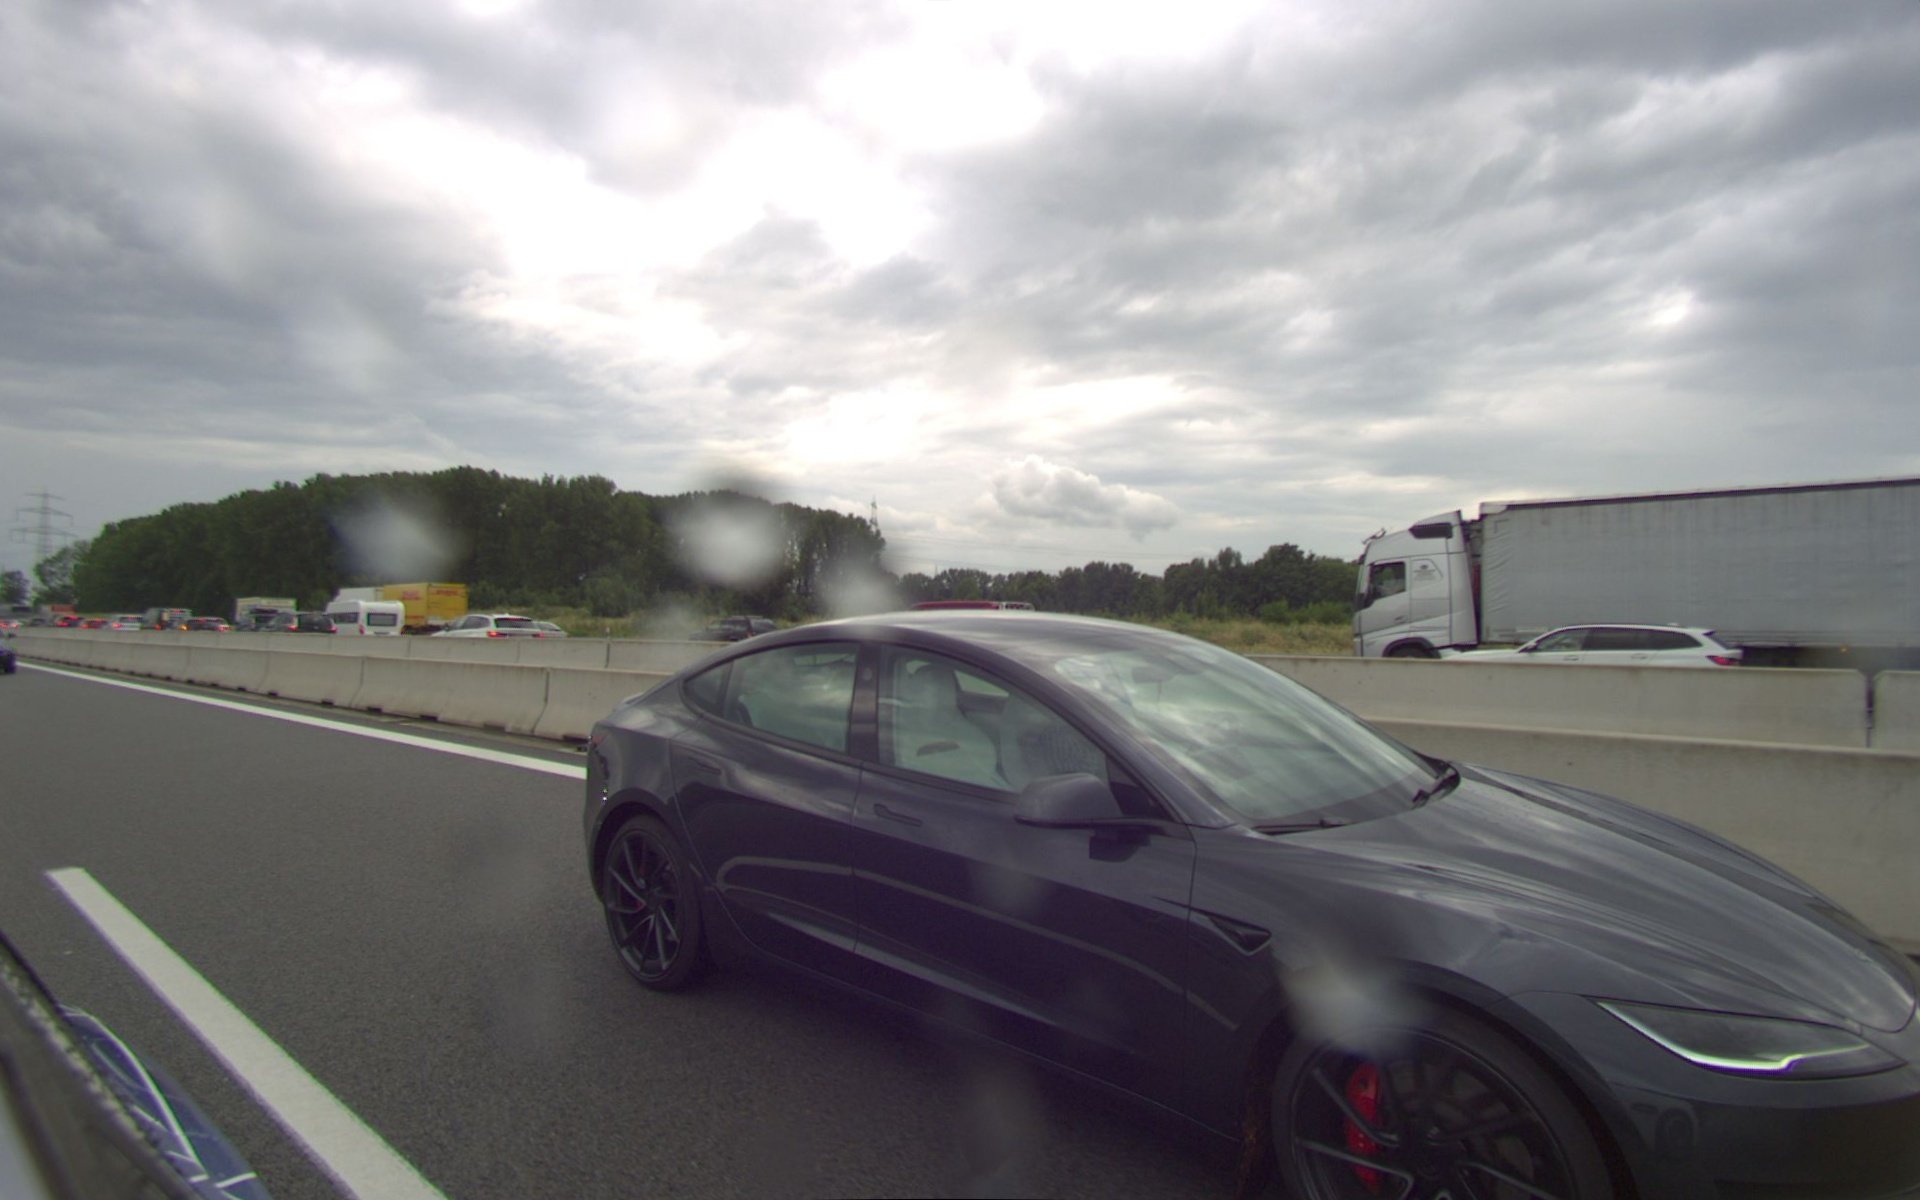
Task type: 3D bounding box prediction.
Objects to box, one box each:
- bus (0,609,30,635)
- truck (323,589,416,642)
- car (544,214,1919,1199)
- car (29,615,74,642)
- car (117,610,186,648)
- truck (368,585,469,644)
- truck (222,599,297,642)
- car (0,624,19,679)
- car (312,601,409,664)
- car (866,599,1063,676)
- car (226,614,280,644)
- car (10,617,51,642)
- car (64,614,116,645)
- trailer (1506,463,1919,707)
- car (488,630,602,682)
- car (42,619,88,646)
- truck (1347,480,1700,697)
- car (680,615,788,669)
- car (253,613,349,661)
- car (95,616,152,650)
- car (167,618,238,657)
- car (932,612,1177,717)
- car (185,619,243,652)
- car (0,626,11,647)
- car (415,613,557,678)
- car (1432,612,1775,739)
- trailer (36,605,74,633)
[{"bbox_3d":[-134.670,3.125,143.346,13.988,3.410,2.659,-1,-1,41],"label":"bus"},{"bbox_3d":[-43.056,1.121,73.618,10.308,3.640,2.848,-1,-1,42],"label":"truck"},{"bbox_3d":[0.791,0.369,3.398,5.160,1.834,1.973,-1,-1,41],"label":"car"},{"bbox_3d":[-72.233,2.251,80.415,5.414,2.029,1.973,-1,-1,41],"label":"car"},{"bbox_3d":[-45.260,1.601,56.620,5.753,2.029,1.973,-1,-1,40],"label":"car"},{"bbox_3d":[-36.272,0.971,67.569,9.577,3.640,2.848,-1,-1,42],"label":"truck"},{"bbox_3d":[-57.657,1.701,83.229,9.196,3.315,2.880,-1,-1,41],"label":"truck"},{"bbox_3d":[-26.840,1.383,27.230,3.999,1.426,1.897,-2,-2,42],"label":"car"},{"bbox_3d":[-33.537,1.776,56.558,6.557,3.302,2.634,-1,-1,40],"label":"car"},{"bbox_3d":[0.024,0.968,27.463,5.390,1.887,1.973,-1,-1,42],"label":"car"},{"bbox_3d":[-49.922,2.028,71.425,5.095,2.029,1.973,-1,-1,41],"label":"car"},{"bbox_3d":[-79.862,2.510,86.905,5.414,2.029,1.973,-1,-1,41],"label":"car"},{"bbox_3d":[-58.932,1.985,68.547,4.683,2.029,1.973,-1,-1,41],"label":"car"},{"bbox_3d":[17.586,-0.269,17.653,13.800,4.059,3.205,-1,-1,41],"label":"trailer"},{"bbox_3d":[-15.253,1.991,37.119,4.696,1.727,1.973,-1,-1,41],"label":"car"},{"bbox_3d":[-65.515,2.355,74.040,4.501,1.918,1.973,-1,-1,41],"label":"car"},{"bbox_3d":[12.252,-0.163,22.284,6.229,4.088,3.187,-1,-1,41],"label":"truck"},{"bbox_3d":[-9.168,1.638,40.880,4.540,2.029,1.973,-1,-1,41],"label":"car"},{"bbox_3d":[-26.272,1.443,40.282,4.670,1.795,1.973,-1,-1,41],"label":"car"},{"bbox_3d":[-51.456,2.012,62.217,4.422,2.029,1.973,-1,-1,41],"label":"car"},{"bbox_3d":[-37.102,1.816,49.561,3.998,1.763,1.973,-1,-1,41],"label":"car"},{"bbox_3d":[1.830,1.218,20.749,4.758,1.887,1.973,-1,-1,42],"label":"car"},{"bbox_3d":[-48.298,2.273,65.489,4.810,2.029,1.973,-1,-1,41],"label":"car"},{"bbox_3d":[-97.803,3.711,102.446,4.693,2.029,1.973,-1,-1,41],"label":"car"},{"bbox_3d":[-13.907,1.278,29.564,4.869,1.727,1.973,-1,-1,41],"label":"car"},{"bbox_3d":[10.999,1.189,17.523,4.758,1.887,1.973,-1,-1,42],"label":"car"},{"bbox_3d":[-128.845,2.729,143.990,9.154,3.791,2.831,-1,-2,41],"label":"trailer"}]
